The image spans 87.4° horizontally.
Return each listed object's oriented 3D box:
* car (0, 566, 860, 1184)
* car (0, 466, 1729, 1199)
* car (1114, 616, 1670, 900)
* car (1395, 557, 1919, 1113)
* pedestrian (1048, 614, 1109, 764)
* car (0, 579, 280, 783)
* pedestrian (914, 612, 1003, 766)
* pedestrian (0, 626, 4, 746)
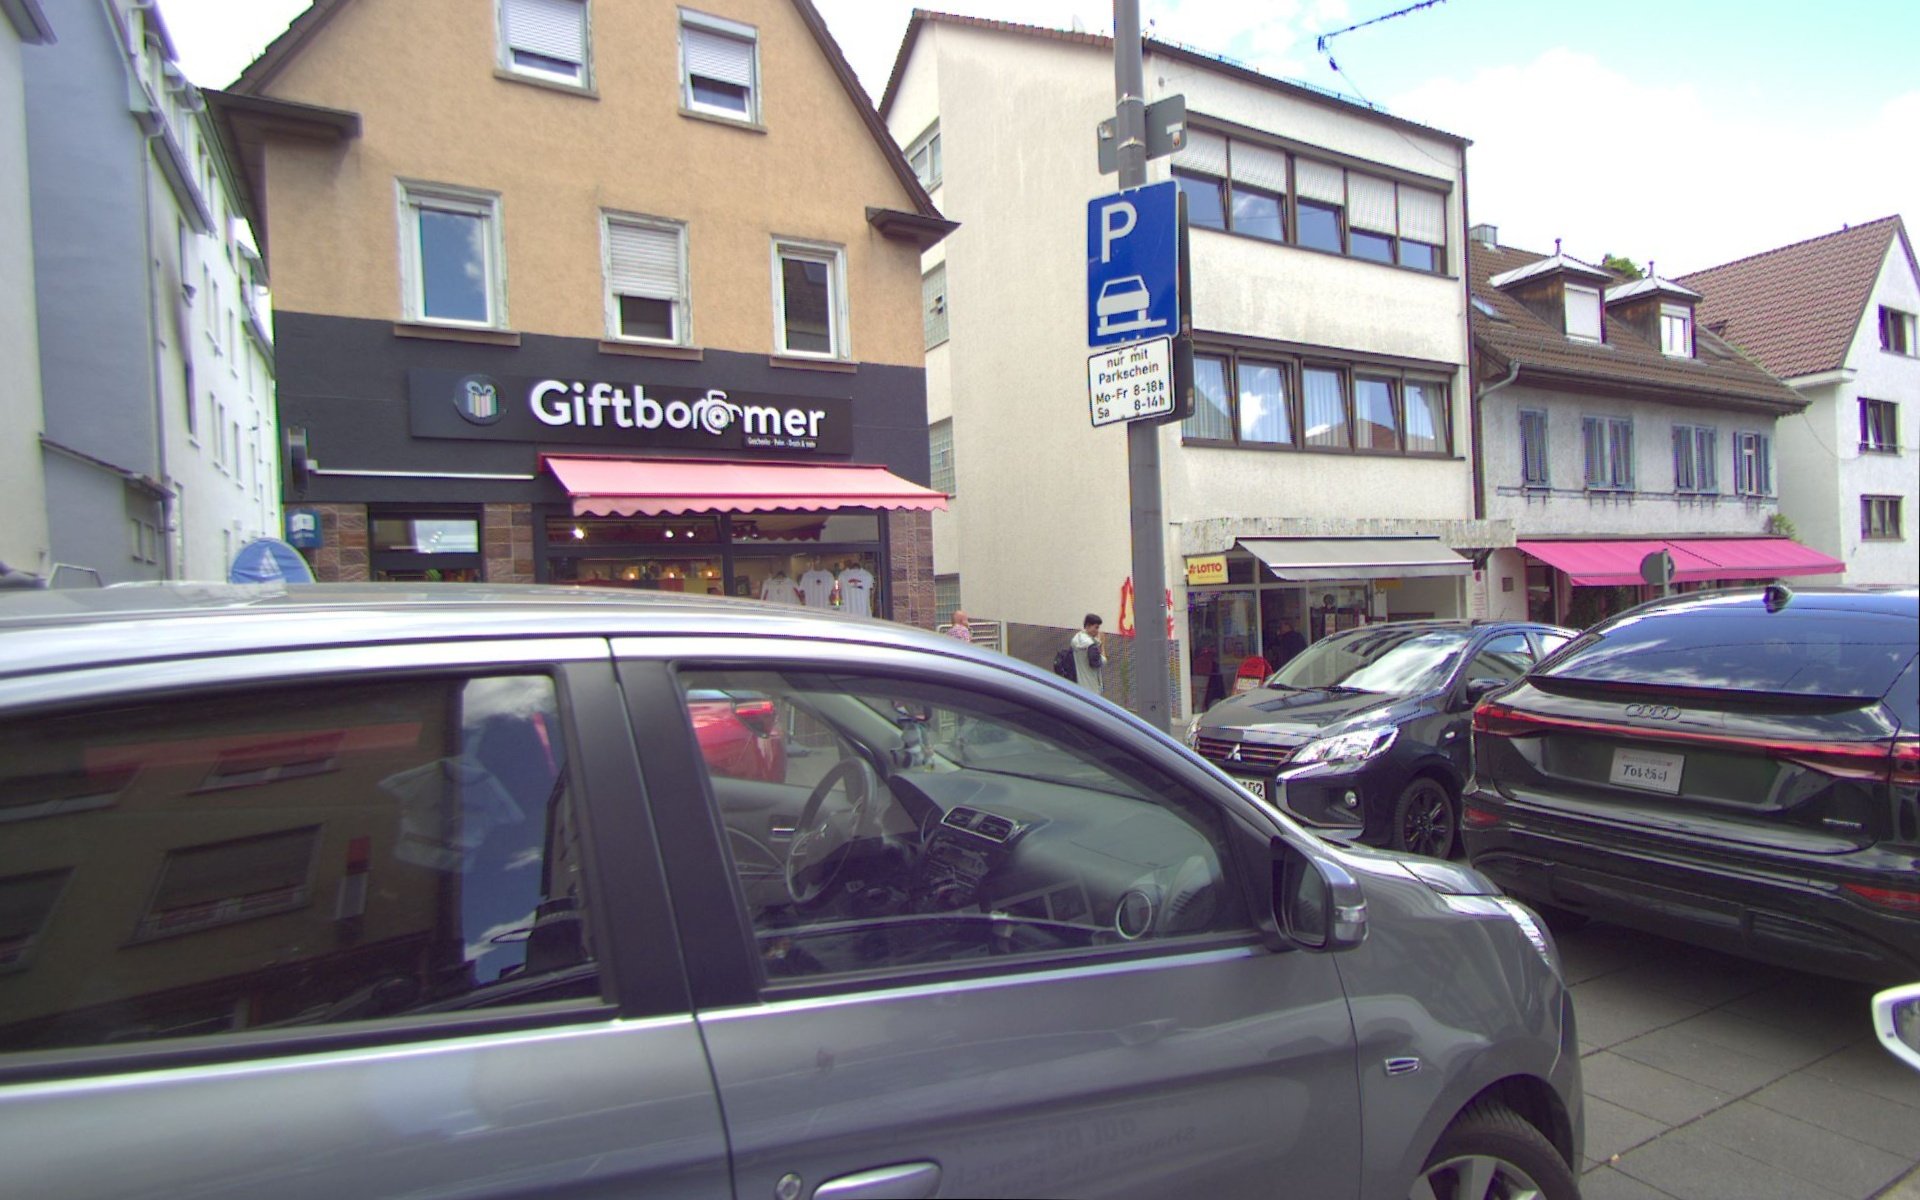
[{"bbox_3d":[-2.587,0.732,3.487,4.146,1.563,1.730,1,-2,-32],"label":"car"},{"bbox_3d":[-0.370,0.692,1.852,3.628,1.553,1.612,1,0,-31],"label":"car"},{"bbox_3d":[3.113,0.883,7.062,3.841,1.495,1.730,1,-2,-32],"label":"car"},{"bbox_3d":[4.276,0.738,4.814,4.266,1.661,1.946,1,0,-32],"label":"car"},{"bbox_3d":[1.398,1.022,11.794,0.653,1.711,0.646,-1,-1,9],"label":"pedestrian"},{"bbox_3d":[-9.244,0.732,11.594,1.860,1.898,4.054,0,1,-28],"label":"car"},{"bbox_3d":[-0.025,1.005,11.674,0.817,1.711,0.636,1,-1,-28],"label":"pedestrian"},{"bbox_3d":[-10.775,0.947,10.777,0.600,1.336,0.622,1,-1,-31],"label":"pedestrian"}]
